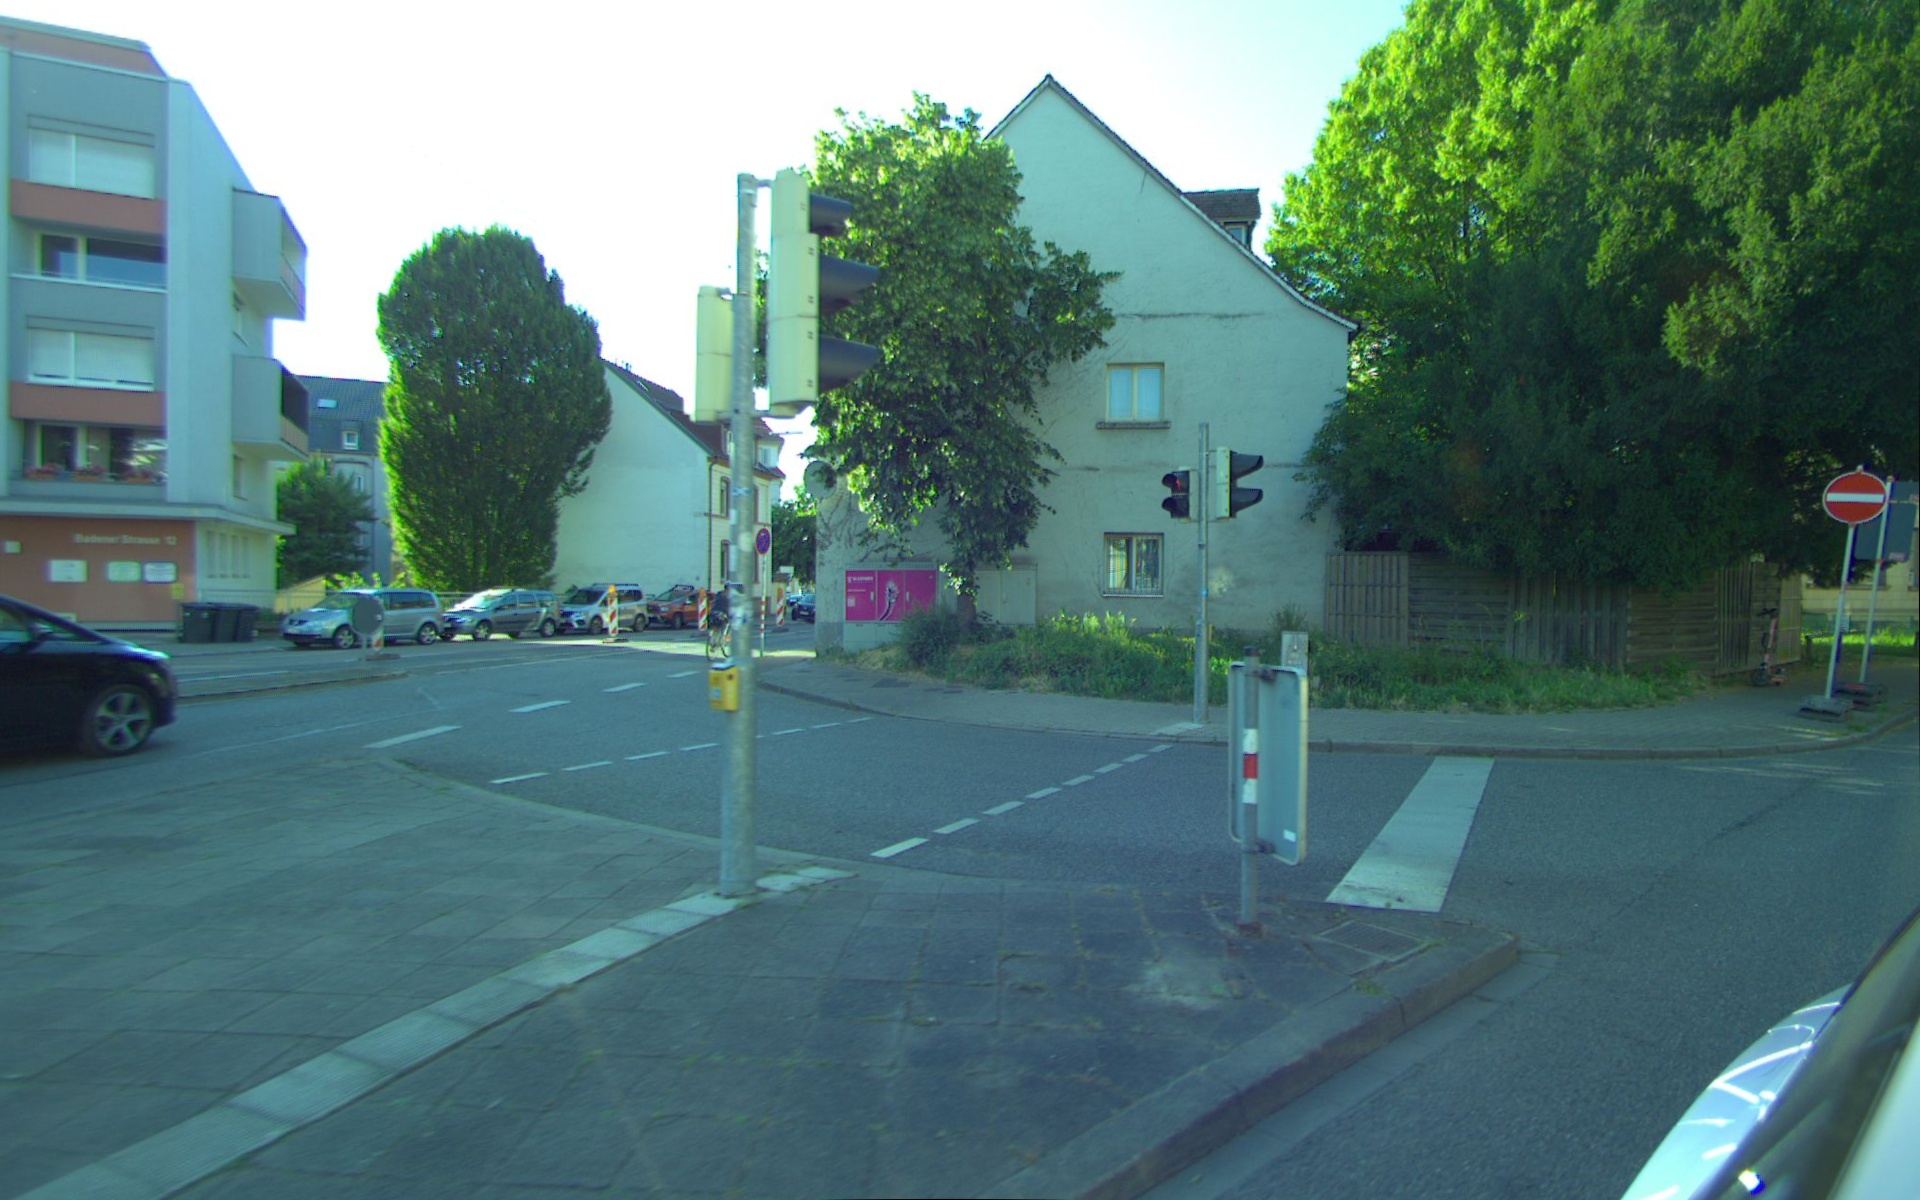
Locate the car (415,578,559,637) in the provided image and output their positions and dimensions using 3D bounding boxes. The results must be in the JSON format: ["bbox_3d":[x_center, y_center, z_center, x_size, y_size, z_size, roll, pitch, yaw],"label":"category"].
[{"bbox_3d":[-15.378,0.230,33.149,1.974,1.803,4.203,0,0,18],"label":"car"}]

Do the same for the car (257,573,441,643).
[{"bbox_3d":[-17.009,0.209,28.427,1.974,1.803,4.203,0,0,18],"label":"car"}]

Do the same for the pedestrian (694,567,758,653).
[{"bbox_3d":[-5.282,0.221,22.880,0.943,1.861,1.284,0,-1,14],"label":"pedestrian"}]

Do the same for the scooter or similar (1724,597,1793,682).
[{"bbox_3d":[12.078,0.575,15.308,1.235,1.216,0.439,0,3,-36],"label":"scooter or similar"}]

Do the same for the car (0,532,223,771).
[{"bbox_3d":[-8.380,0.343,7.692,1.969,1.838,4.237,3,1,12],"label":"car"}]
